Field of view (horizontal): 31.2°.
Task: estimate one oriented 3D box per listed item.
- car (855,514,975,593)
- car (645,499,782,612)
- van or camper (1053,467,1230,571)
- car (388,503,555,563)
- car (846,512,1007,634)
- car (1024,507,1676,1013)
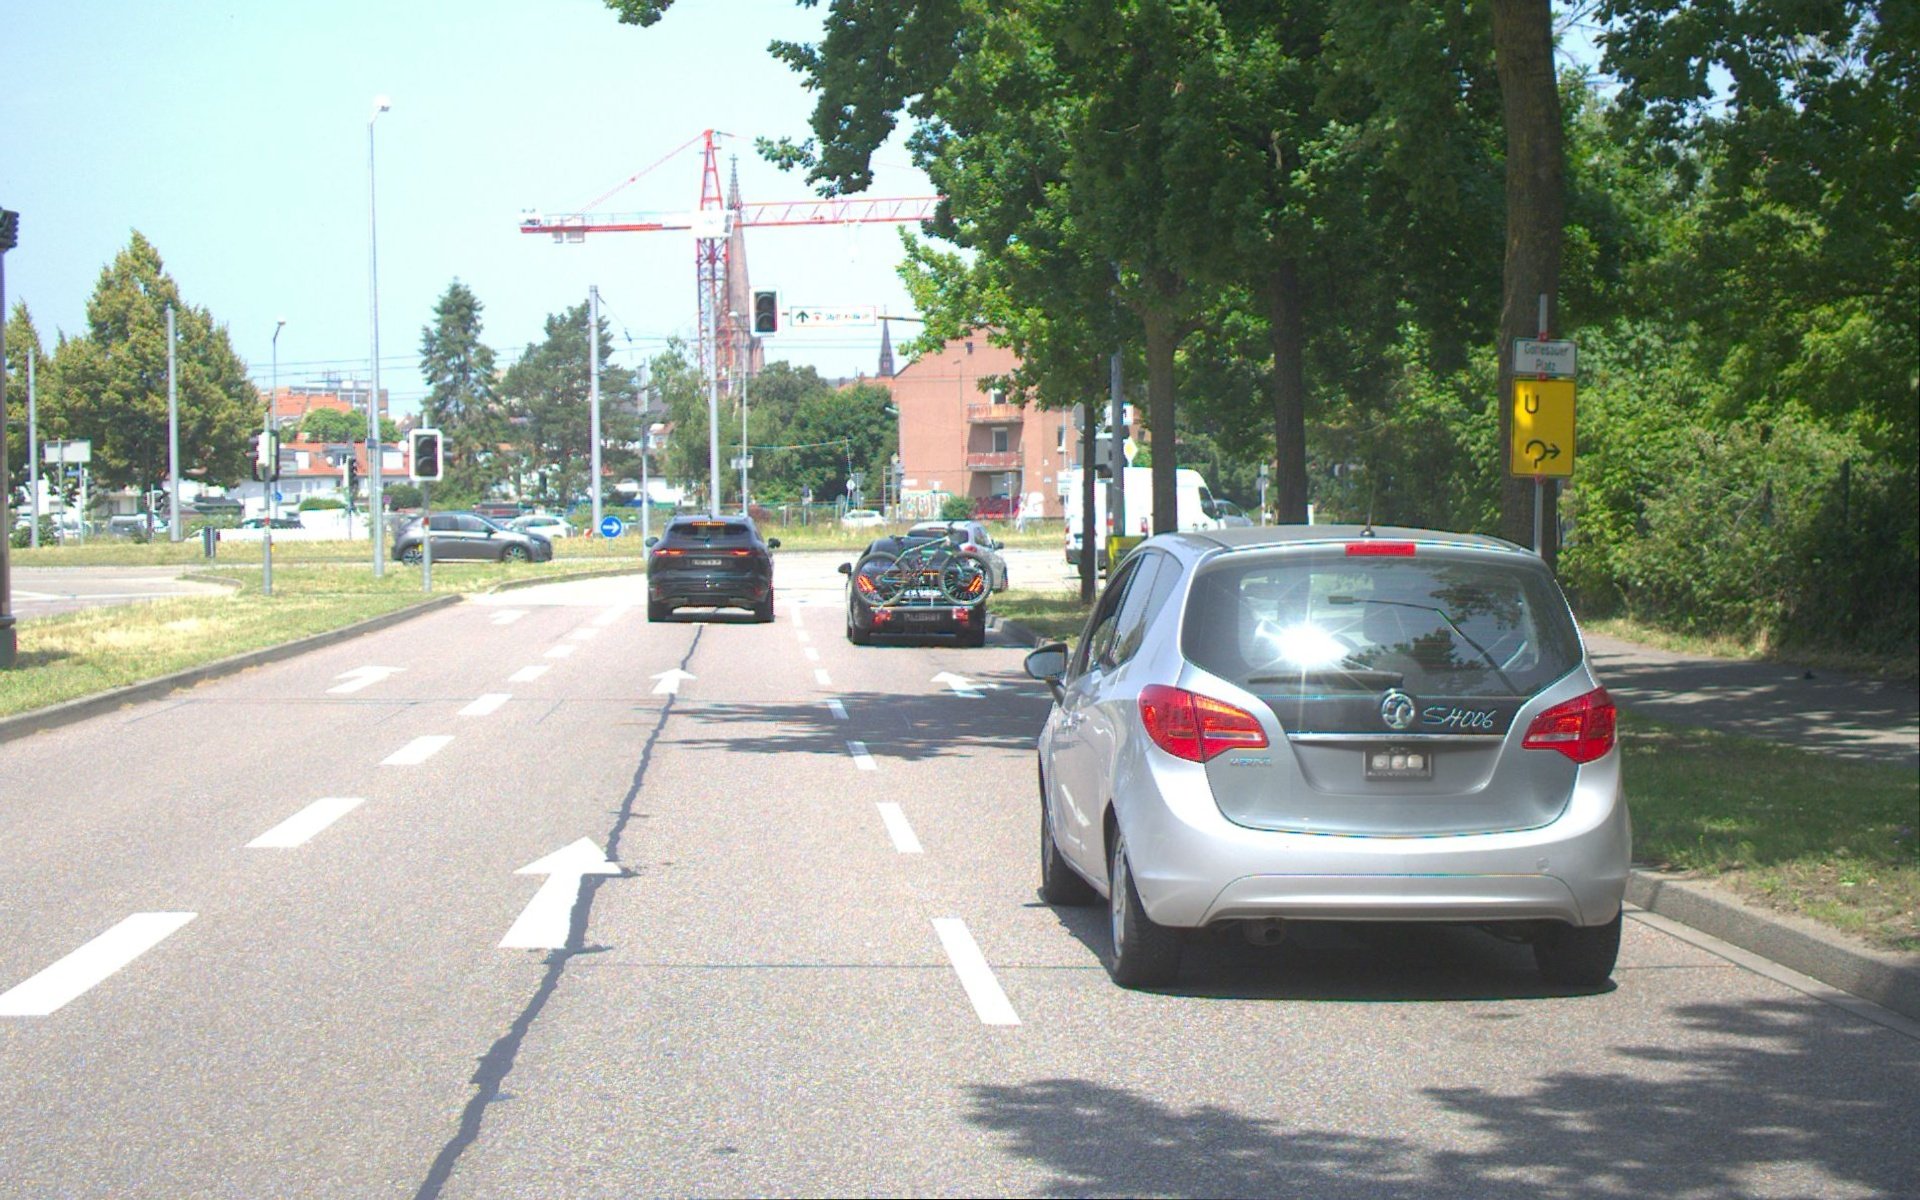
[{"bbox_3d":[-0.774,-0.873,62.460,1.655,1.351,4.460,-1,2,6],"label":"car"},{"bbox_3d":[-3.852,-0.741,54.281,1.998,1.683,4.034,0,2,-2],"label":"car"},{"bbox_3d":[4.230,-1.881,79.229,2.496,2.283,4.915,0,2,23],"label":"van or camper"},{"bbox_3d":[-12.364,-1.700,87.148,3.986,1.448,2.000,-1,1,-2],"label":"car"},{"bbox_3d":[-0.477,-0.402,45.866,2.014,1.512,4.461,-1,2,-1],"label":"car"},{"bbox_3d":[1.291,0.458,12.945,1.792,1.606,3.891,0,2,-3],"label":"car"}]
